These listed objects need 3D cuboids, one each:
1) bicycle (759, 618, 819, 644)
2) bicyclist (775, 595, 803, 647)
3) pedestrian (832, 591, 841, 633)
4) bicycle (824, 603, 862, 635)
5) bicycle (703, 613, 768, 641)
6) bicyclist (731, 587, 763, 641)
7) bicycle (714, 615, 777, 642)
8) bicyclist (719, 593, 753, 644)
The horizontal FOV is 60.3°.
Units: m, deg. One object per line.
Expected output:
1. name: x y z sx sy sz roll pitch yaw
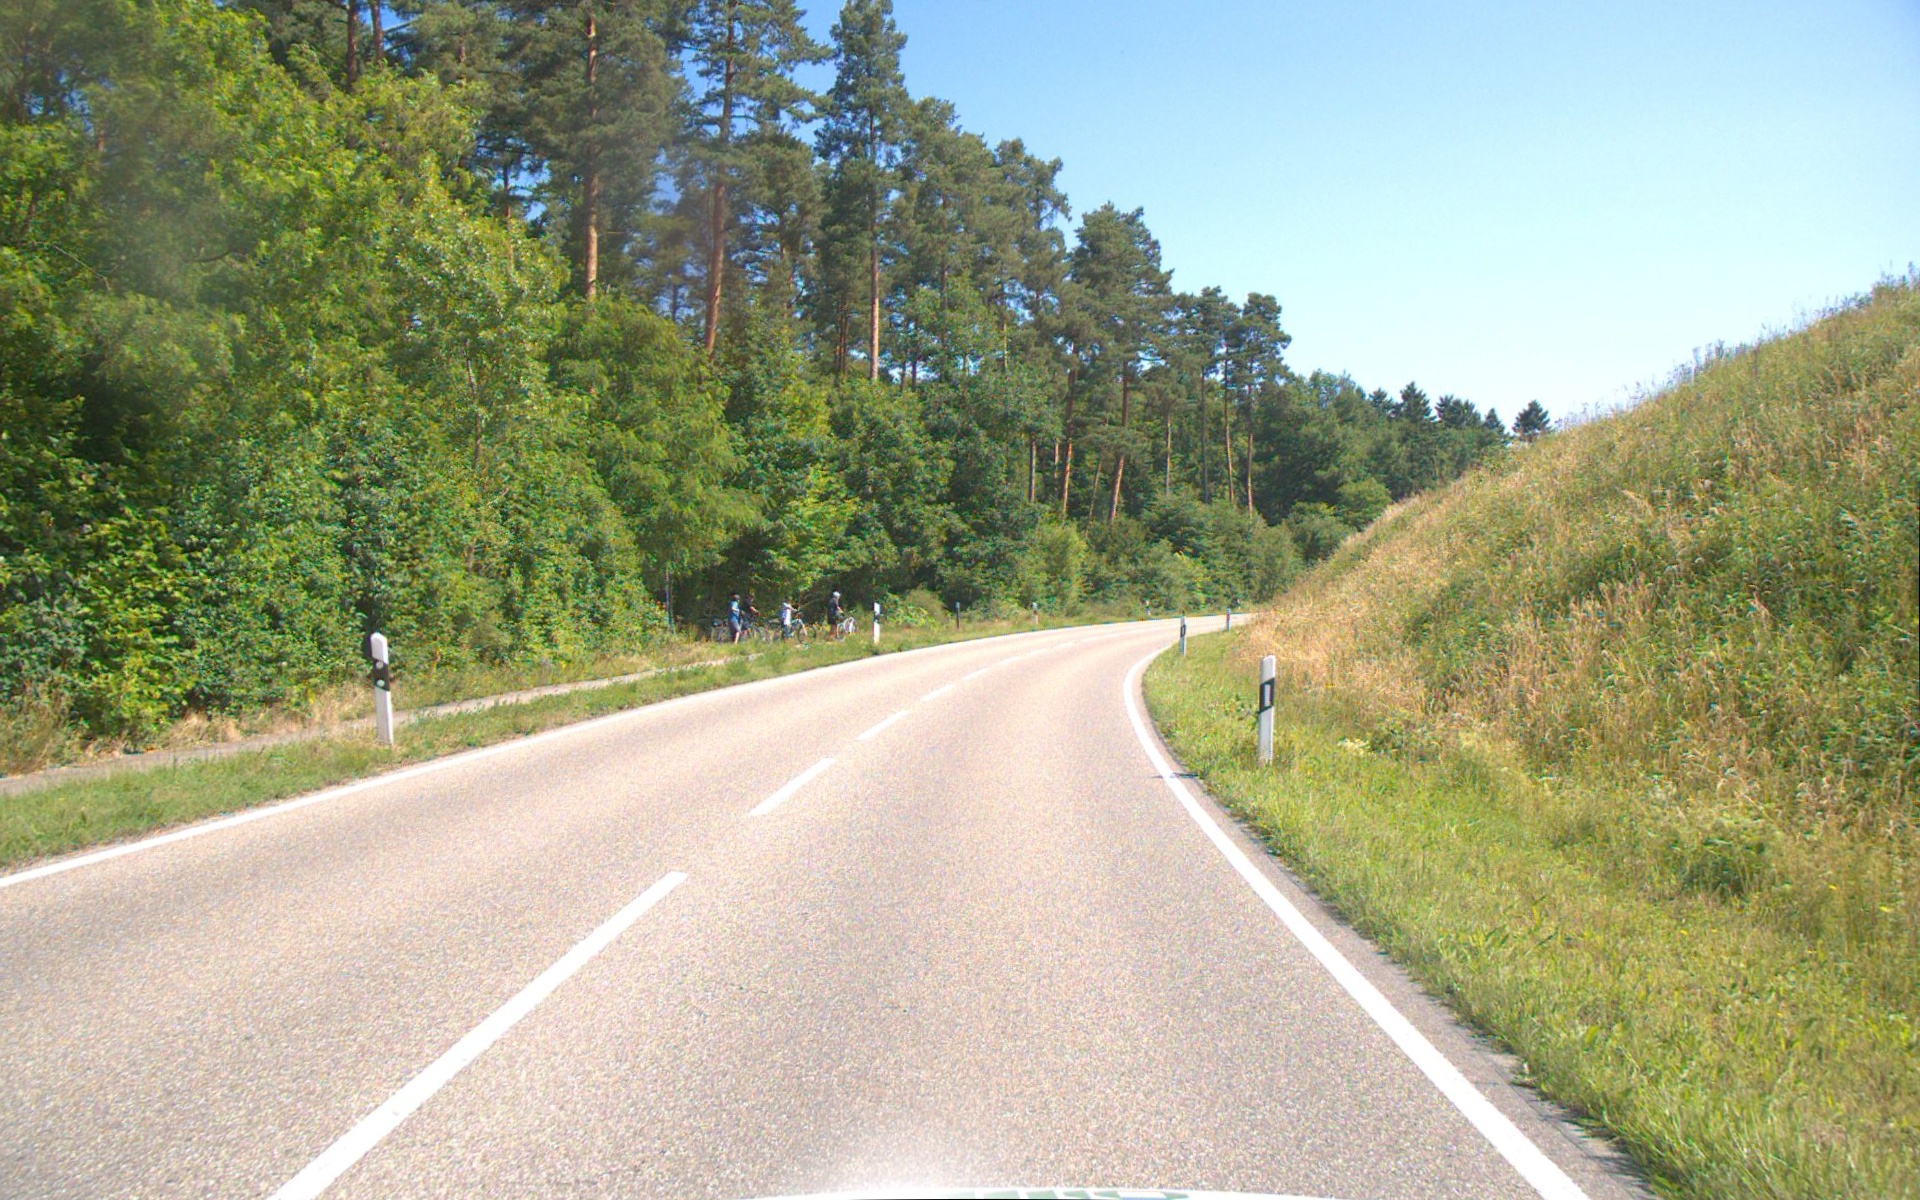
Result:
1. bicycle: -5.914 1.074 57.205 1.956 0.844 0.600 1 -1 -28
2. bicyclist: -5.925 0.727 57.191 0.778 1.749 0.600 1 -1 -28
3. pedestrian: -4.616 0.446 61.810 0.278 1.565 0.391 -1 0 6
4. bicycle: -4.360 0.702 61.831 0.571 1.105 1.440 2 2 40
5. bicycle: -7.093 0.861 52.300 1.962 0.844 0.598 2 -1 -35
6. bicyclist: -6.892 0.457 53.543 0.840 1.730 0.598 2 -1 -35
7. bicycle: -6.939 0.933 53.524 1.962 0.844 0.598 2 -1 -35
8. bicyclist: -7.088 0.583 52.311 0.861 1.572 0.598 2 -1 -35
